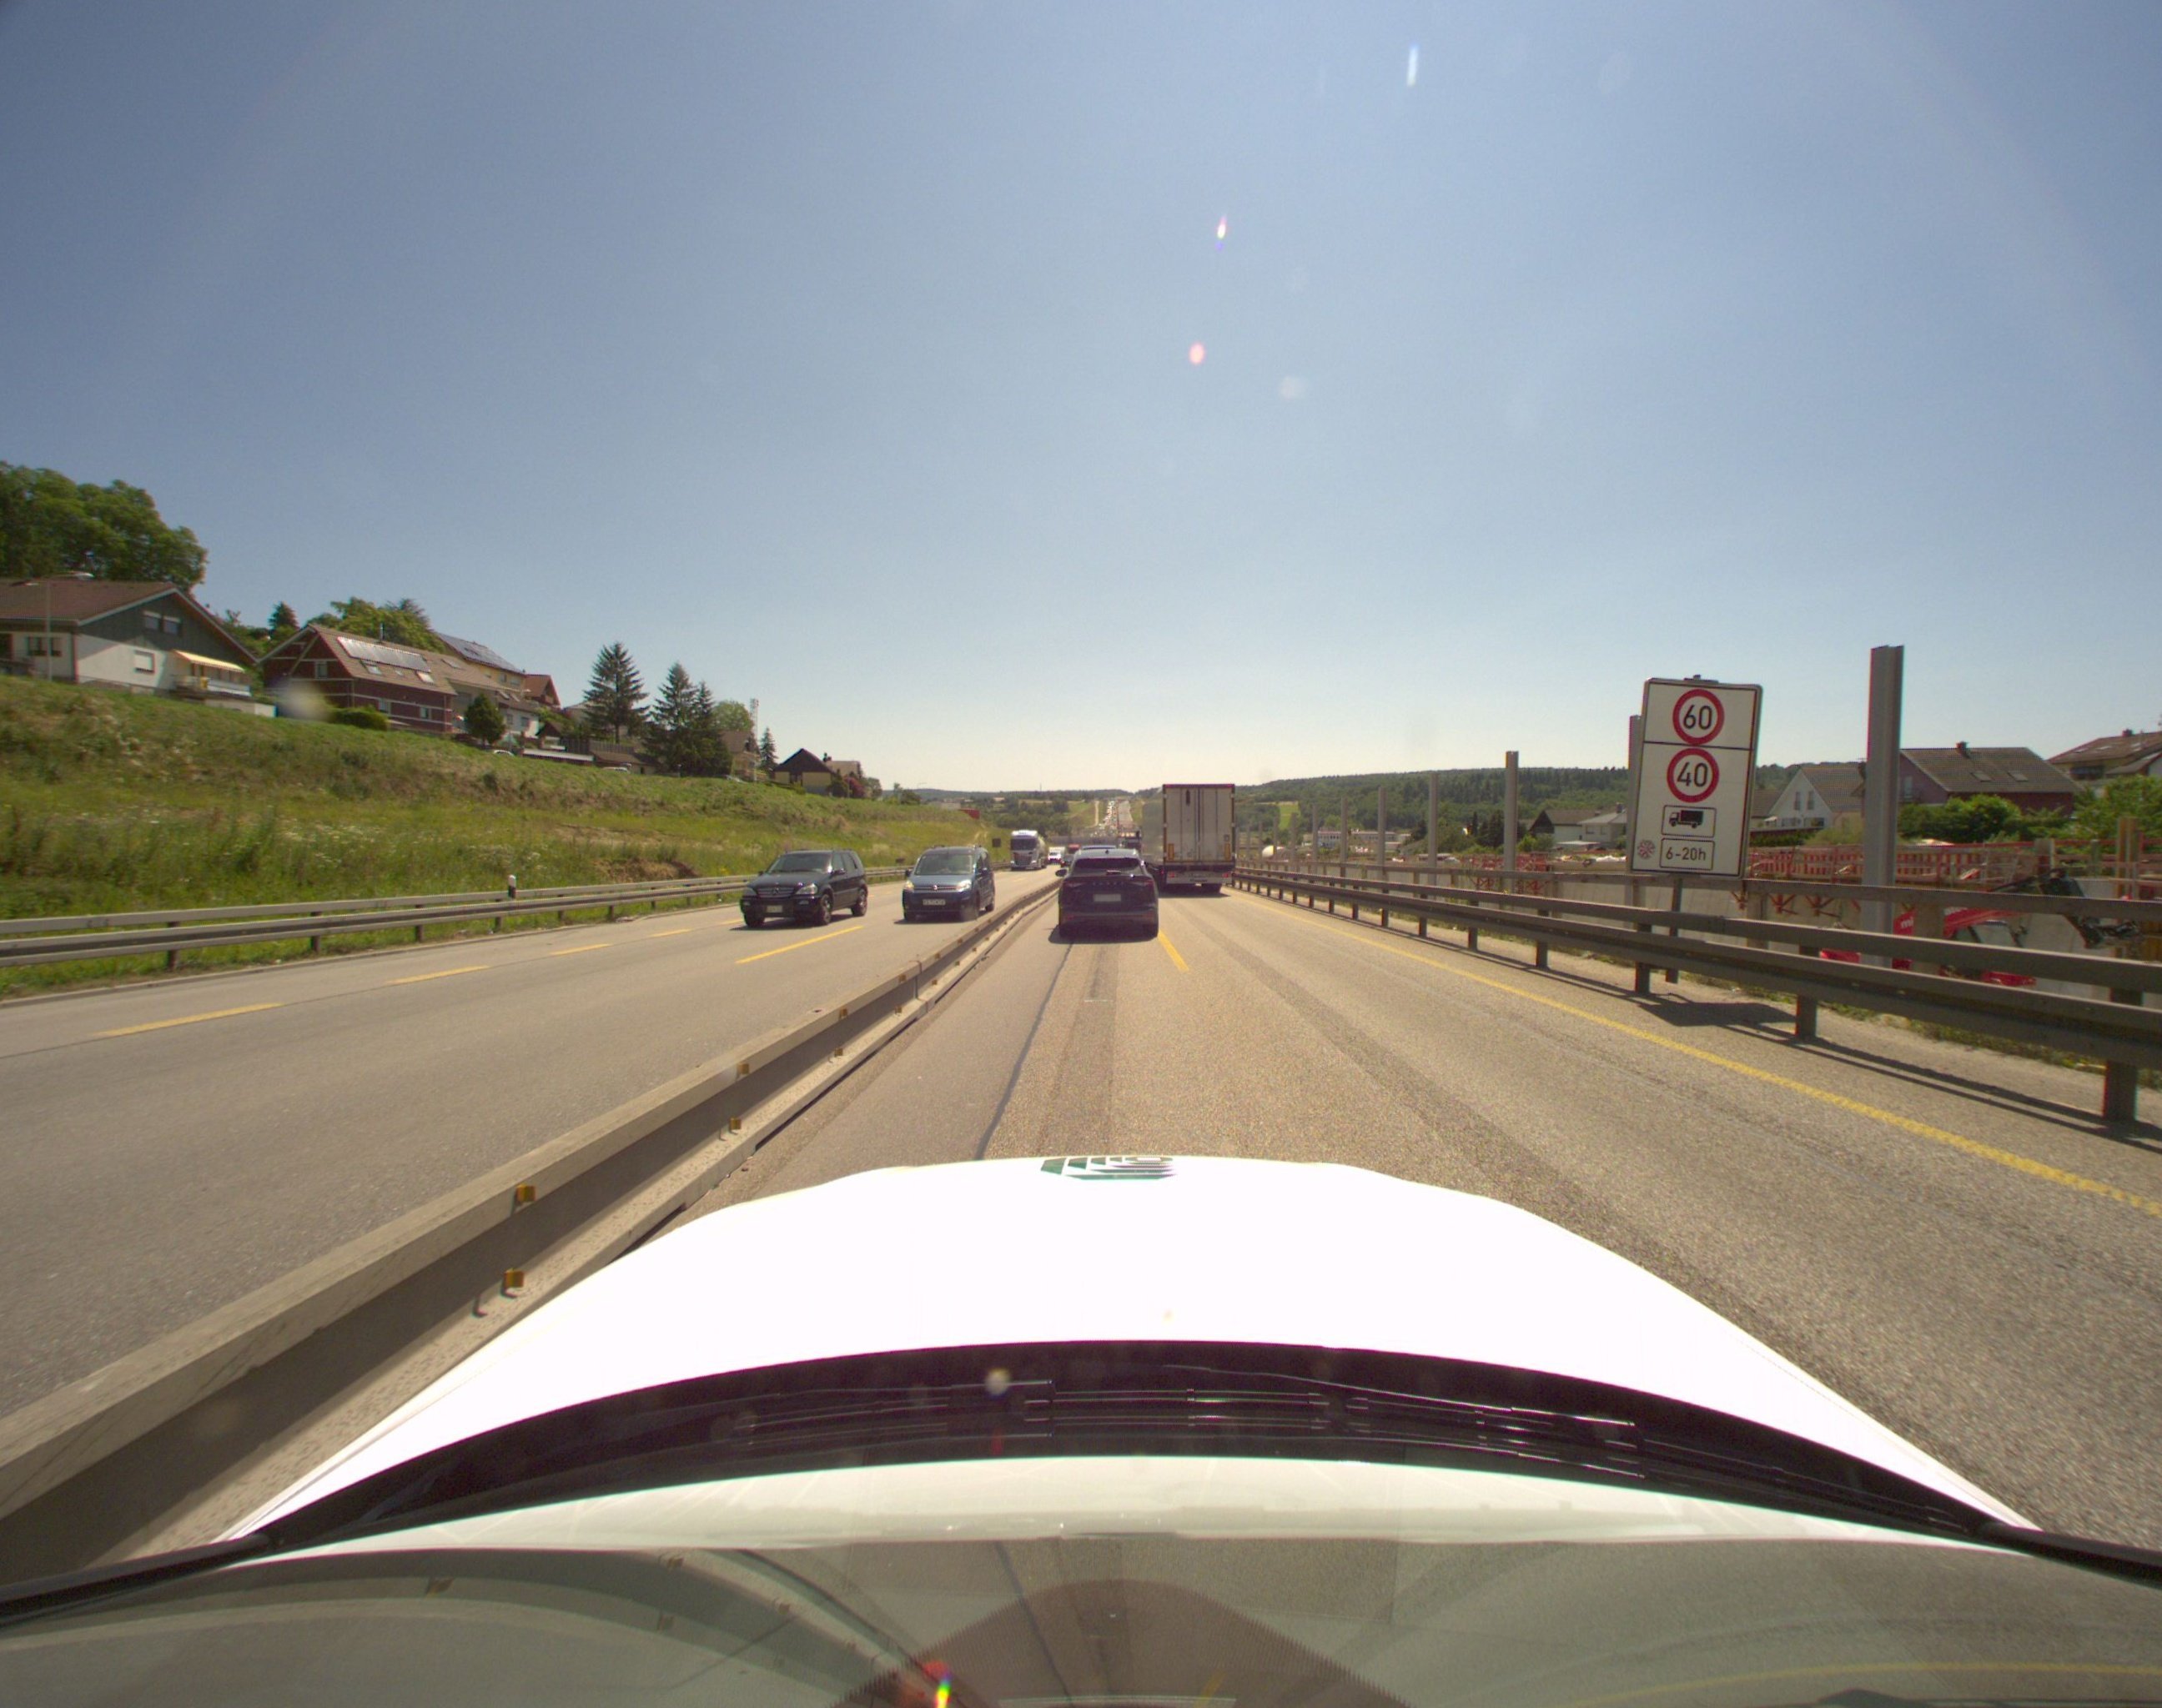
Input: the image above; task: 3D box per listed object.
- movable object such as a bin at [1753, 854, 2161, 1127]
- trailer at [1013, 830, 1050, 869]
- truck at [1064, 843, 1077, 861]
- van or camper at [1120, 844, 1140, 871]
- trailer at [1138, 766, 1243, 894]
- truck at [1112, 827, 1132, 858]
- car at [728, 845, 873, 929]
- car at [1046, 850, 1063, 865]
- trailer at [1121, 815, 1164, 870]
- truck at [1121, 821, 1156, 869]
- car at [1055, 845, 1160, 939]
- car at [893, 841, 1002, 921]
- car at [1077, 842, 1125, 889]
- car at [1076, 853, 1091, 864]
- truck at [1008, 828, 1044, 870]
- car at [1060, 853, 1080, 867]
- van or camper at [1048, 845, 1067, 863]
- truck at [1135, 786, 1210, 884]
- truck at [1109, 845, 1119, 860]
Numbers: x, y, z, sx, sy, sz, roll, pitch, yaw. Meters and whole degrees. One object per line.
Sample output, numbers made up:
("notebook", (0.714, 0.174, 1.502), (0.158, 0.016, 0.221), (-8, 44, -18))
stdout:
("movable object such as a bin", (20.436, 2.433, 18.060), (3.215, 4.743, 9.657), (-1, -1, 1))
("trailer", (-4.906, -0.428, 82.321), (2.707, 3.594, 11.797), (-1, 0, 1))
("truck", (-2.490, -0.383, 195.097), (2.842, 4.140, 11.919), (-1, -1, 1))
("van or camper", (6.169, 0.475, 101.968), (2.378, 3.281, 6.475), (-1, -1, 4))
("trailer", (4.351, -0.880, 35.442), (3.168, 4.513, 13.113), (-1, 0, 2))
("truck", (6.346, -1.636, 127.702), (2.842, 4.465, 11.919), (-1, -1, 1))
("car", (-6.600, 0.704, 19.743), (1.821, 1.766, 4.498), (-1, 0, 2))
("car", (-3.647, 0.508, 114.650), (1.986, 1.971, 5.345), (-1, 0, 2))
("trailer", (5.415, -0.777, 74.370), (3.168, 4.513, 14.970), (-1, -1, 2))
("truck", (5.644, -0.770, 81.533), (3.168, 4.513, 8.167), (-1, -1, 2))
("car", (0.538, 0.672, 16.005), (1.795, 1.607, 4.002), (-1, -1, 2))
("car", (-3.234, 0.612, 20.743), (1.839, 1.777, 4.883), (-1, 0, 1))
("car", (0.882, 0.516, 36.187), (1.986, 1.926, 4.508), (-1, -1, 1))
("car", (0.361, 0.675, 116.770), (1.905, 1.480, 4.638), (-1, 0, 2))
("truck", (-5.092, -0.441, 75.879), (2.769, 3.672, 6.278), (-1, 0, 1))
("car", (-1.167, 0.665, 88.541), (1.887, 1.414, 4.682), (-1, 0, 2))
("van or camper", (-3.485, -0.017, 121.249), (2.348, 2.676, 7.861), (-1, 0, 2))
("truck", (4.512, -0.920, 41.915), (3.168, 4.513, 8.169), (-1, 0, 2))
("truck", (9.271, -0.370, 231.549), (2.630, 4.194, 9.287), (-1, -1, 2))
